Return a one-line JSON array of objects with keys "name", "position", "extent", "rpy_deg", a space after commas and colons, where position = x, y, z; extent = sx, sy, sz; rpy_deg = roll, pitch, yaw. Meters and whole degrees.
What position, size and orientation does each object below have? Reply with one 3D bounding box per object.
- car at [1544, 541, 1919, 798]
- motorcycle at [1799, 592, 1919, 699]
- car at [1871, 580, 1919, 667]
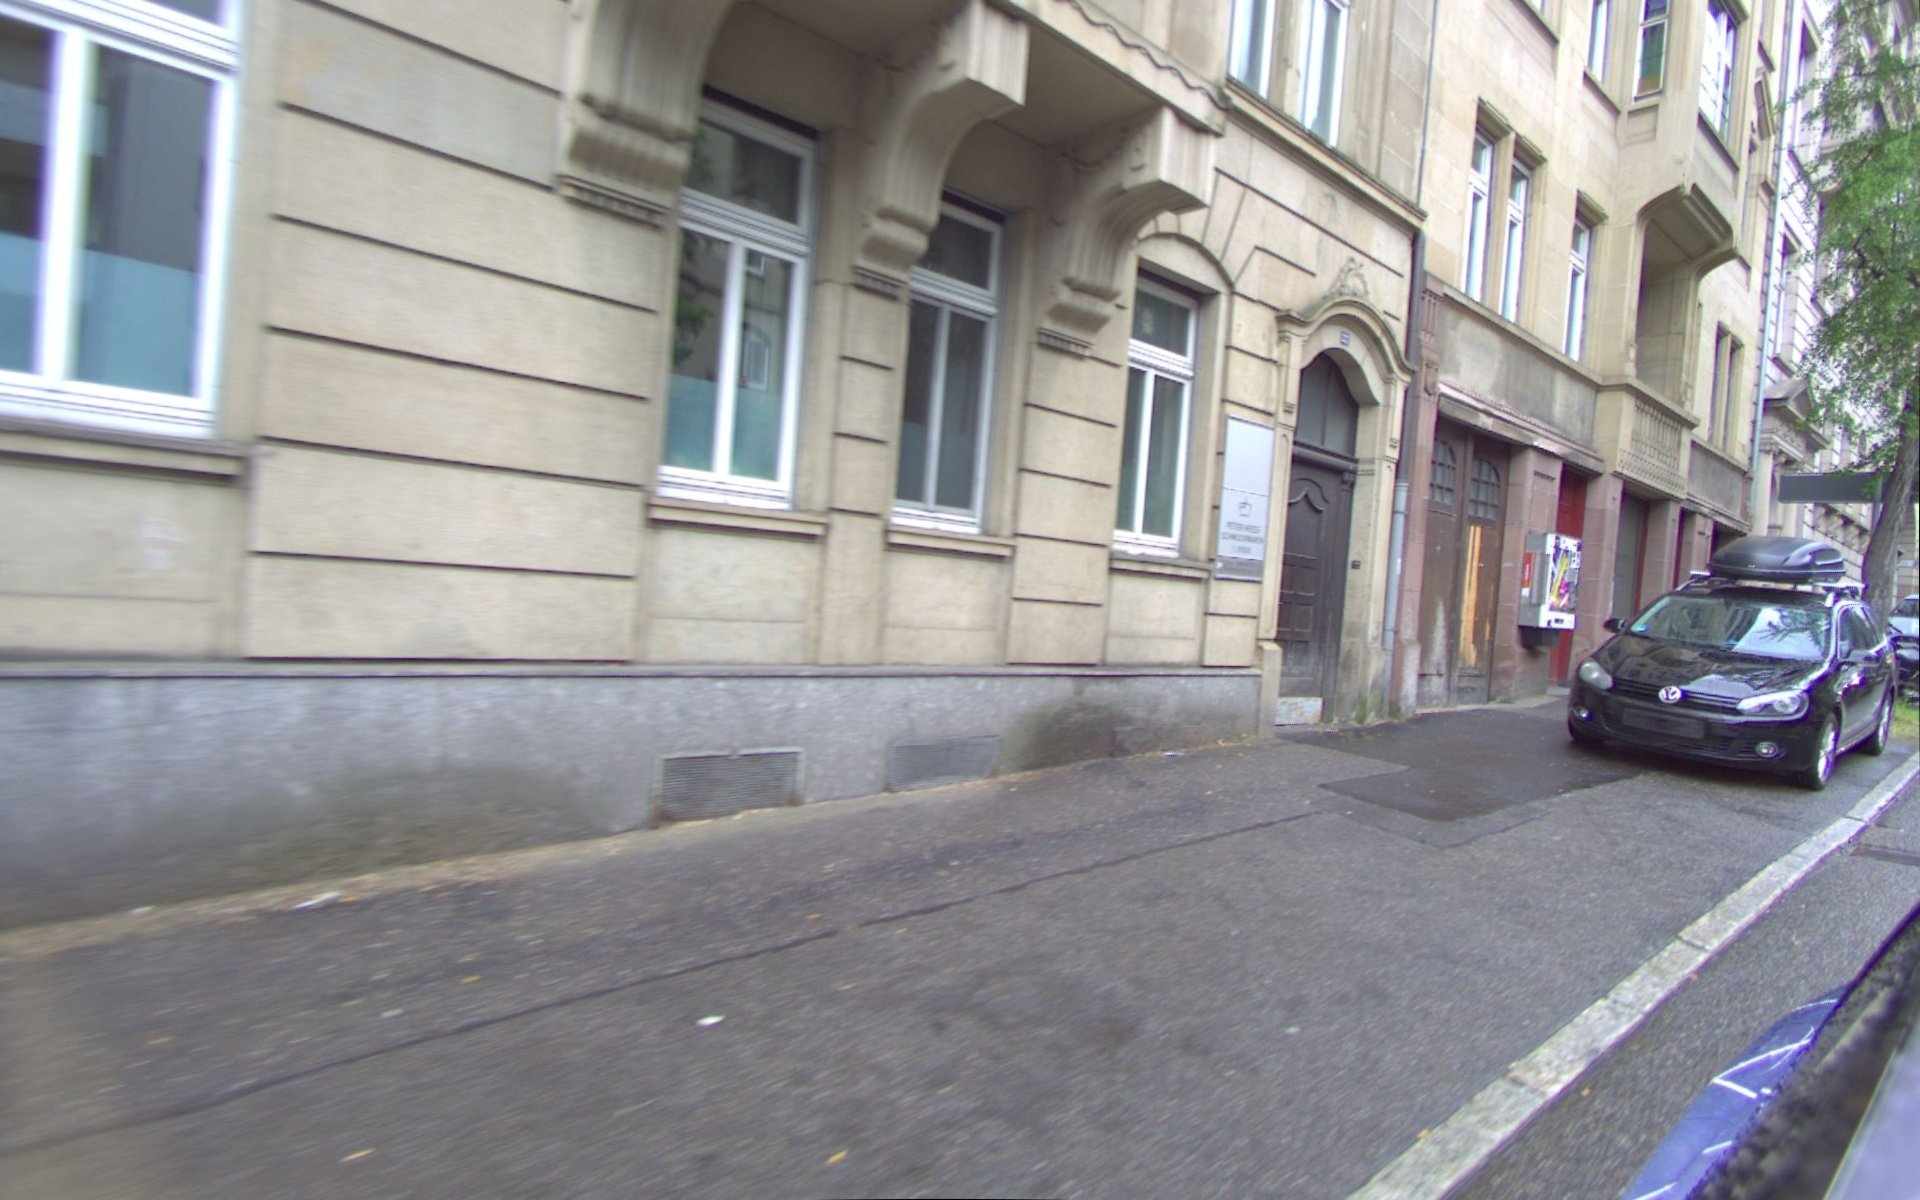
[{"name": "car", "position": [7.027, 0.453, 8.985], "extent": [4.025, 1.670, 1.765], "rpy_deg": [0, 6, -40]}, {"name": "motorcycle", "position": [12.450, 0.635, 13.318], "extent": [2.233, 1.258, 0.525], "rpy_deg": [5, 3, -1]}, {"name": "car", "position": [18.457, 0.471, 18.679], "extent": [3.966, 1.469, 1.796], "rpy_deg": [0, 5, -40]}]
